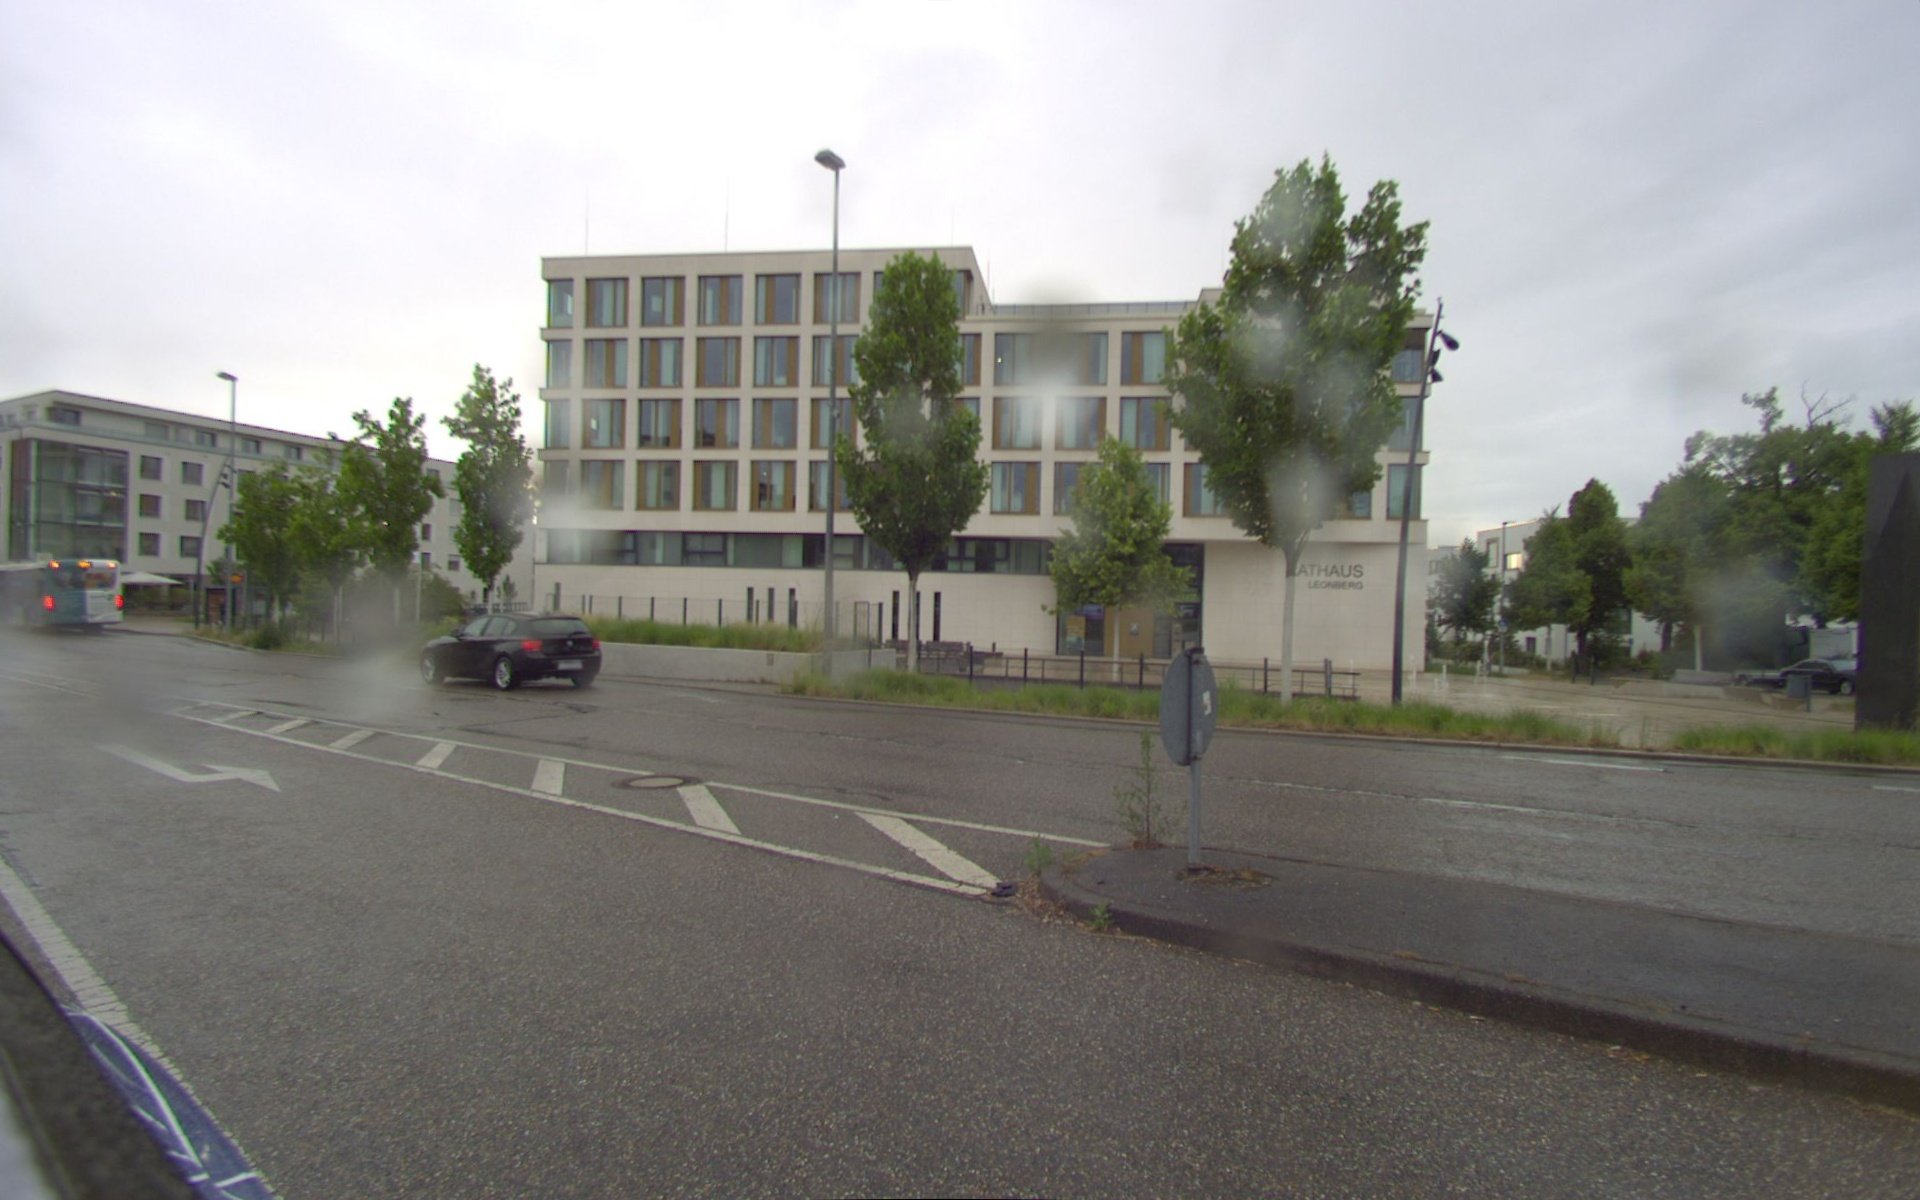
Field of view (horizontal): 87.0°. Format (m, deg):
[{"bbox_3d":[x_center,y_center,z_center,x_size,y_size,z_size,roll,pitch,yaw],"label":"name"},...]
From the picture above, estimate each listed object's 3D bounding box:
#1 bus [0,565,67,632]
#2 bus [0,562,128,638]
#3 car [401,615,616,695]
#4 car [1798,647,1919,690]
[{"bbox_3d":[-48.156,-0.016,50.814,8.860,3.138,2.768,0,-2,34],"label":"bus"},{"bbox_3d":[-40.706,0.048,45.605,9.350,3.138,2.751,-1,-2,36],"label":"bus"},{"bbox_3d":[-8.742,0.999,19.507,4.269,1.401,1.770,-1,-2,34],"label":"car"},{"bbox_3d":[34.715,2.627,39.006,1.978,1.551,3.987,1,-3,10],"label":"car"}]
